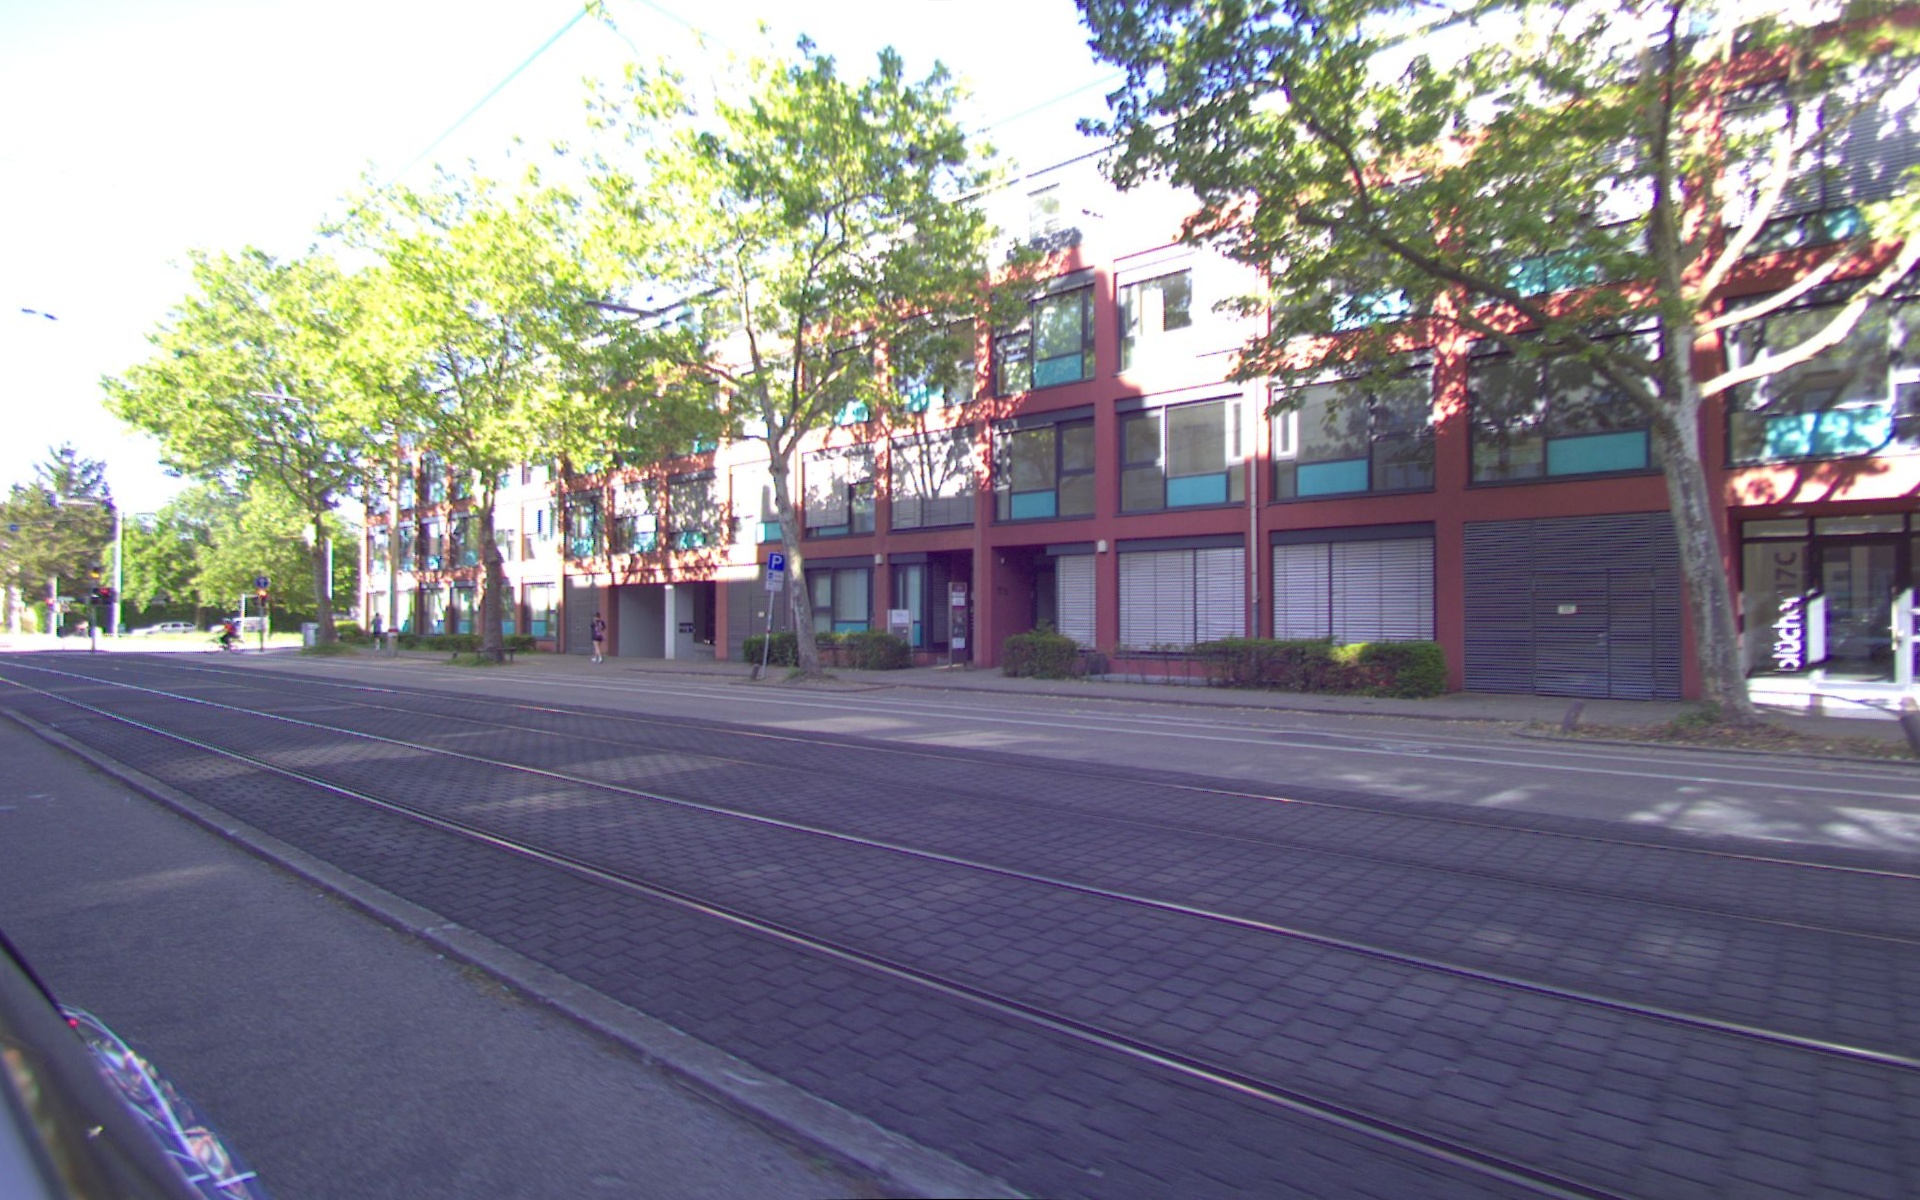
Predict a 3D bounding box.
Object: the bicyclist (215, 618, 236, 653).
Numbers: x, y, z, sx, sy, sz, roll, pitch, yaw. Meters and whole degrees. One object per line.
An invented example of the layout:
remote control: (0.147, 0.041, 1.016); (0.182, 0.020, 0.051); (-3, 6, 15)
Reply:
bicyclist: (-36.476, 1.757, 50.271); (0.596, 1.705, 0.935); (-2, 0, -24)

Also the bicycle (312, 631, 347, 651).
bicycle: (-29.278, 1.899, 47.017); (1.531, 0.913, 0.519); (-1, -1, 18)

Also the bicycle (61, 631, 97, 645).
bicycle: (-74.270, 3.212, 85.334); (2.251, 1.126, 0.931); (1, -2, -41)

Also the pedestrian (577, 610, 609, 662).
pedestrian: (-12.499, 1.238, 34.498); (0.900, 1.731, 0.619); (-2, 0, 40)

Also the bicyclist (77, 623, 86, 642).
bicyclist: (-74.176, 2.723, 85.409); (0.551, 1.635, 0.899); (1, -2, -41)

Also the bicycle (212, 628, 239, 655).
bicycle: (-36.460, 2.052, 50.252); (0.622, 1.138, 2.042); (0, 2, -24)

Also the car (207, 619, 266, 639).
car: (-67.839, 2.718, 94.960); (1.817, 1.881, 4.253); (-2, -2, 43)

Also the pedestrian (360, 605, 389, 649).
pedestrian: (-27.784, 1.274, 47.996); (0.778, 2.029, 0.903); (-2, 0, 33)

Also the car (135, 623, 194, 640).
car: (-69.995, 2.761, 89.077); (3.939, 1.444, 1.818); (1, -2, -43)
